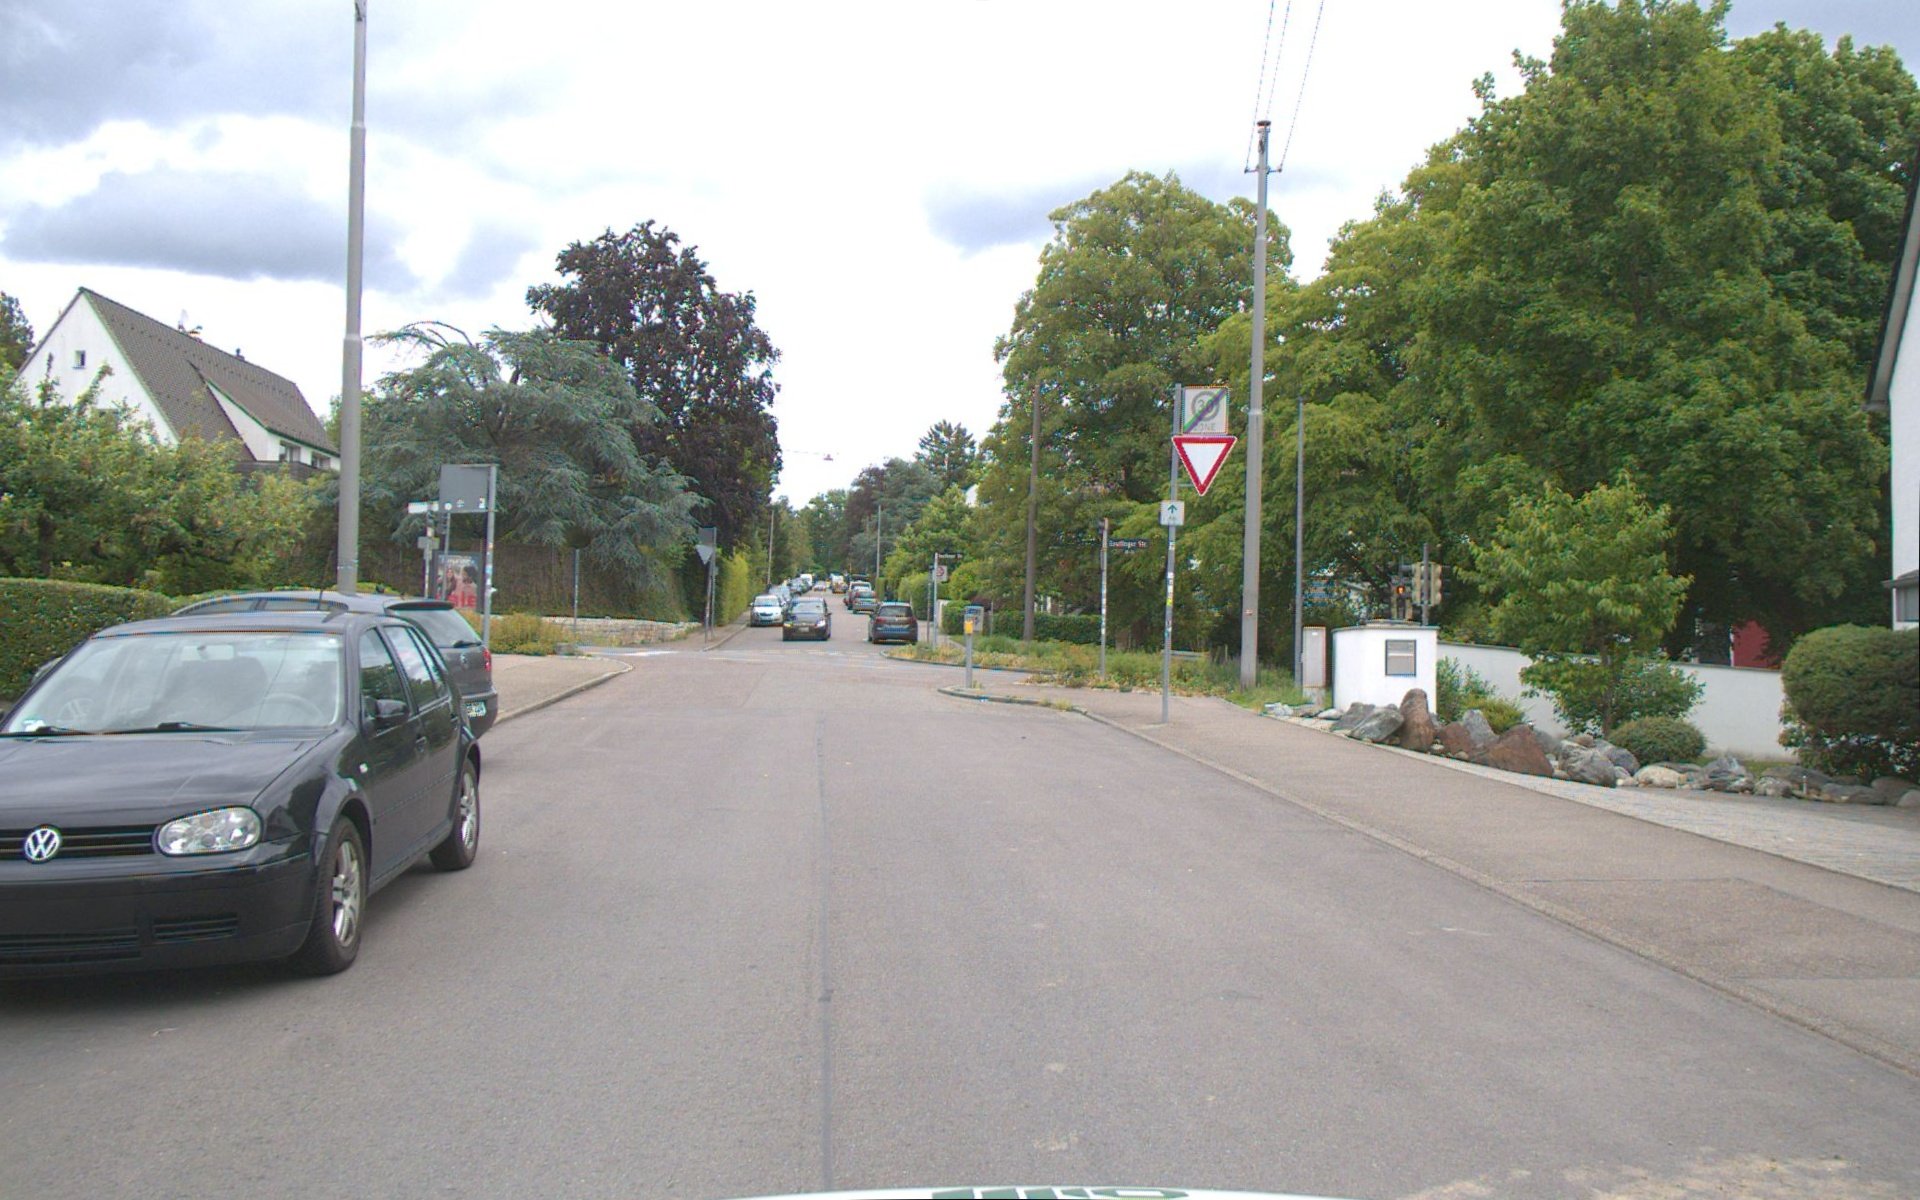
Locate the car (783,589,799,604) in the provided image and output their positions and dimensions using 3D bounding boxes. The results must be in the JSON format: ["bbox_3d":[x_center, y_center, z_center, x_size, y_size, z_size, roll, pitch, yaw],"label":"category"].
[{"bbox_3d":[-17.514,-0.383,171.488,1.595,1.410,3.594,3,0,-5],"label":"car"}]

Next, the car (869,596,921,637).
[{"bbox_3d":[-2.542,0.627,64.272,1.744,1.515,3.995,2,0,-6],"label":"car"}]

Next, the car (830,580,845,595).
[{"bbox_3d":[-14.890,-1.560,201.003,1.602,1.731,3.490,2,0,-5],"label":"car"}]

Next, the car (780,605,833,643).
[{"bbox_3d":[-6.105,0.949,66.218,1.692,1.432,3.804,1,0,1],"label":"car"}]

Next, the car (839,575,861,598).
[{"bbox_3d":[-8.570,-1.074,128.520,1.602,1.731,3.490,2,0,-5],"label":"car"}]

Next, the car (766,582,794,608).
[{"bbox_3d":[-12.057,-0.366,110.916,1.677,1.613,3.997,2,1,-4],"label":"car"}]

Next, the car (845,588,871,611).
[{"bbox_3d":[-7.159,-0.061,116.465,1.754,1.556,3.731,2,0,-3],"label":"car"}]

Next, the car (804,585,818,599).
[{"bbox_3d":[-21.896,-1.212,242.435,1.955,1.914,3.995,3,0,-5],"label":"car"}]

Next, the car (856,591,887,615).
[{"bbox_3d":[-5.771,0.184,107.794,1.775,1.359,3.628,3,1,-6],"label":"car"}]

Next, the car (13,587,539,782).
[{"bbox_3d":[-5.956,0.673,14.591,3.902,1.469,1.828,2,0,11],"label":"car"}]

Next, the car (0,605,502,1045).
[{"bbox_3d":[-3.254,0.759,7.510,1.605,1.419,3.984,-1,0,-6],"label":"car"}]

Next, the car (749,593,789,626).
[{"bbox_3d":[-9.655,0.478,83.723,1.677,1.613,3.998,2,0,-2],"label":"car"}]
